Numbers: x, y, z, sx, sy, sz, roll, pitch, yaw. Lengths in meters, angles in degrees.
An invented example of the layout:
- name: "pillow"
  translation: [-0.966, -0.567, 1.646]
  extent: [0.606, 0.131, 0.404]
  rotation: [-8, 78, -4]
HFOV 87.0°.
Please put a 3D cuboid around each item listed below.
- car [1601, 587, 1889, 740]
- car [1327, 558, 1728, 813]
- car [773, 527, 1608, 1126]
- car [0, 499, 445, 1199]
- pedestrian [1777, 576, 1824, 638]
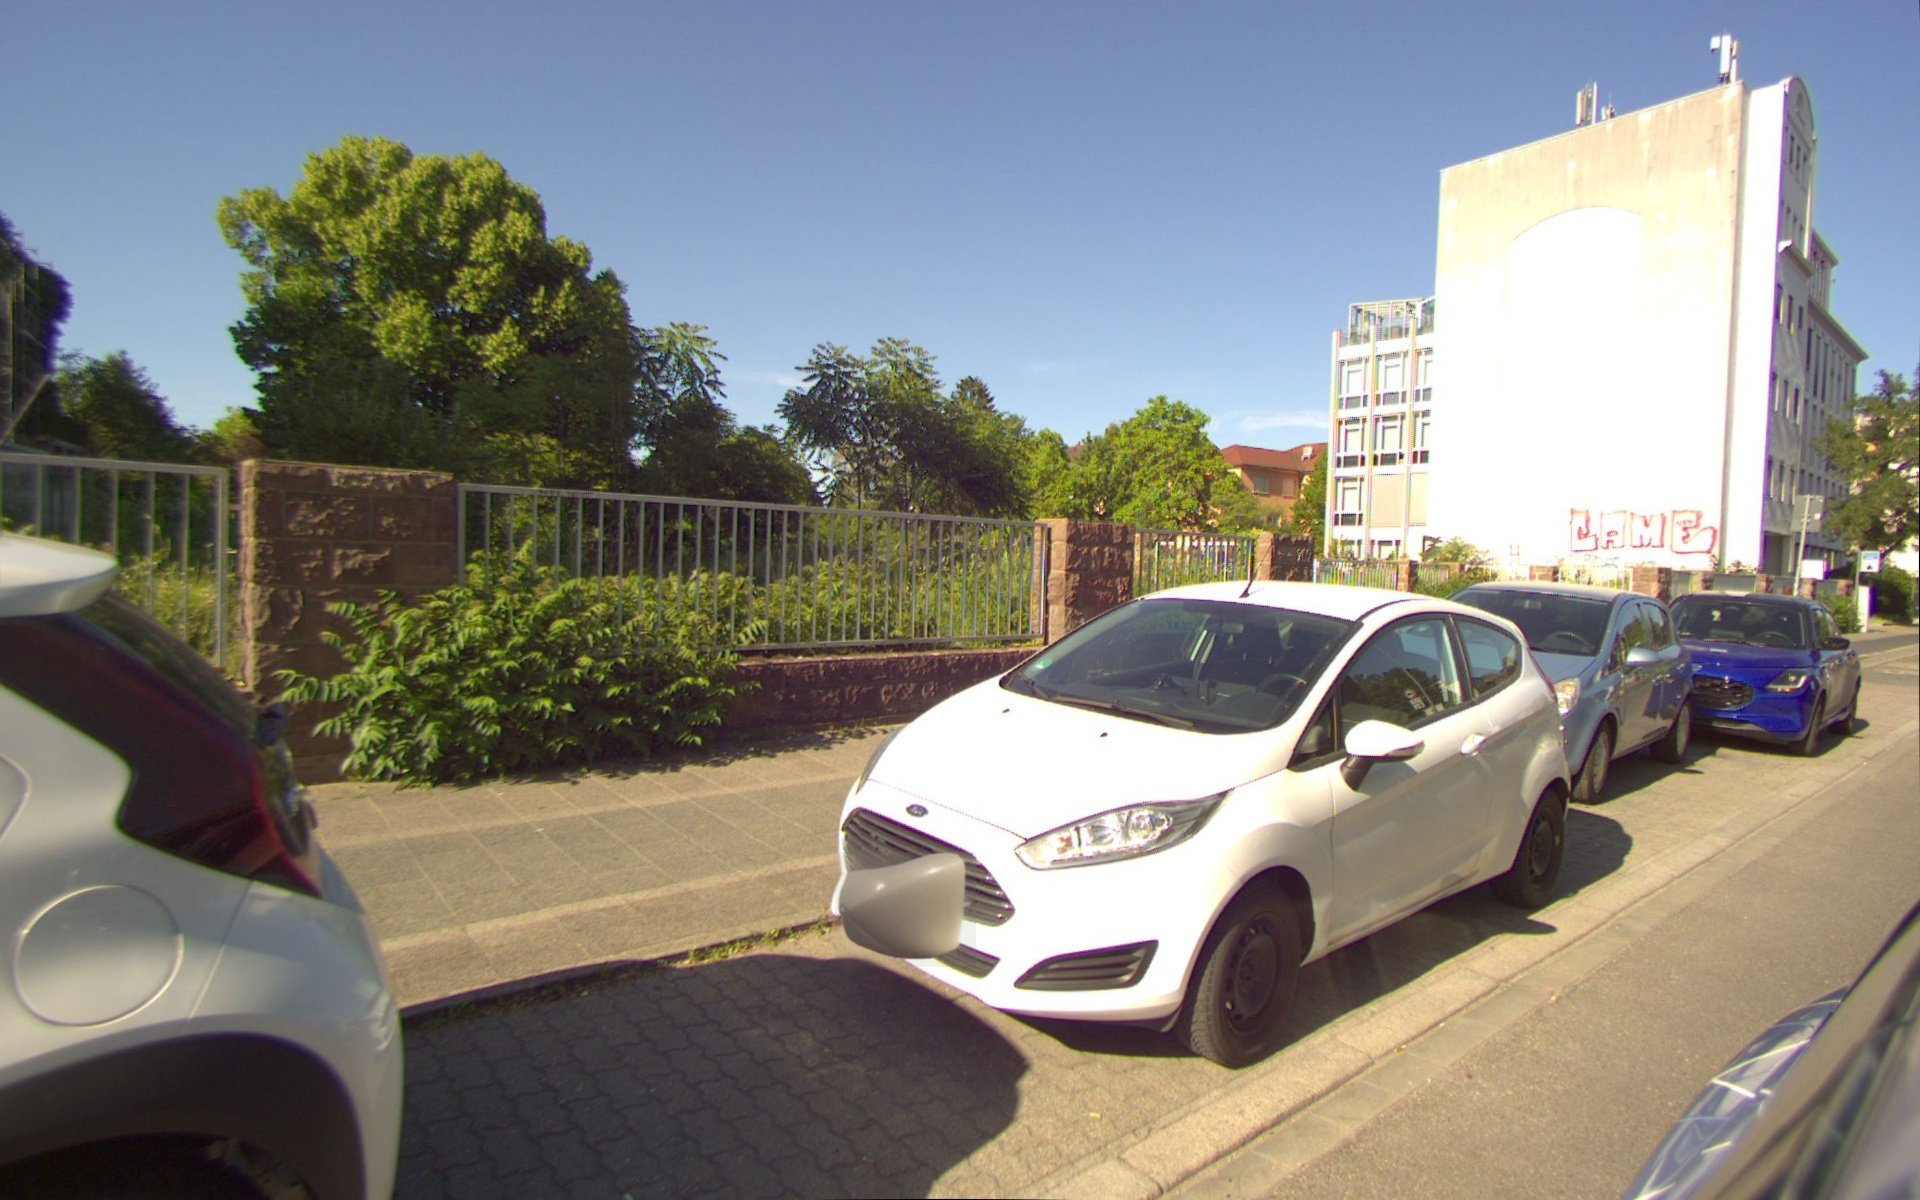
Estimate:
- name: "car"
  translation: [8.443, 0.549, 10.774]
  extent: [3.833, 1.196, 1.672]
  rotation: [0, 6, -42]
- name: "car"
  translation: [4.754, 0.501, 8.230]
  extent: [3.919, 1.477, 1.671]
  rotation: [0, 6, -44]
- name: "car"
  translation: [1.209, 0.541, 4.353]
  extent: [3.595, 1.463, 1.612]
  rotation: [0, 5, -41]
- name: "car"
  translation: [-2.696, 0.607, 0.981]
  extent: [3.599, 1.537, 1.670]
  rotation: [0, 3, -43]
- name: "pedestrian"
  translation: [22.607, 0.173, 27.210]
  extent: [0.881, 1.602, 0.745]
  rotation: [0, 3, -40]
